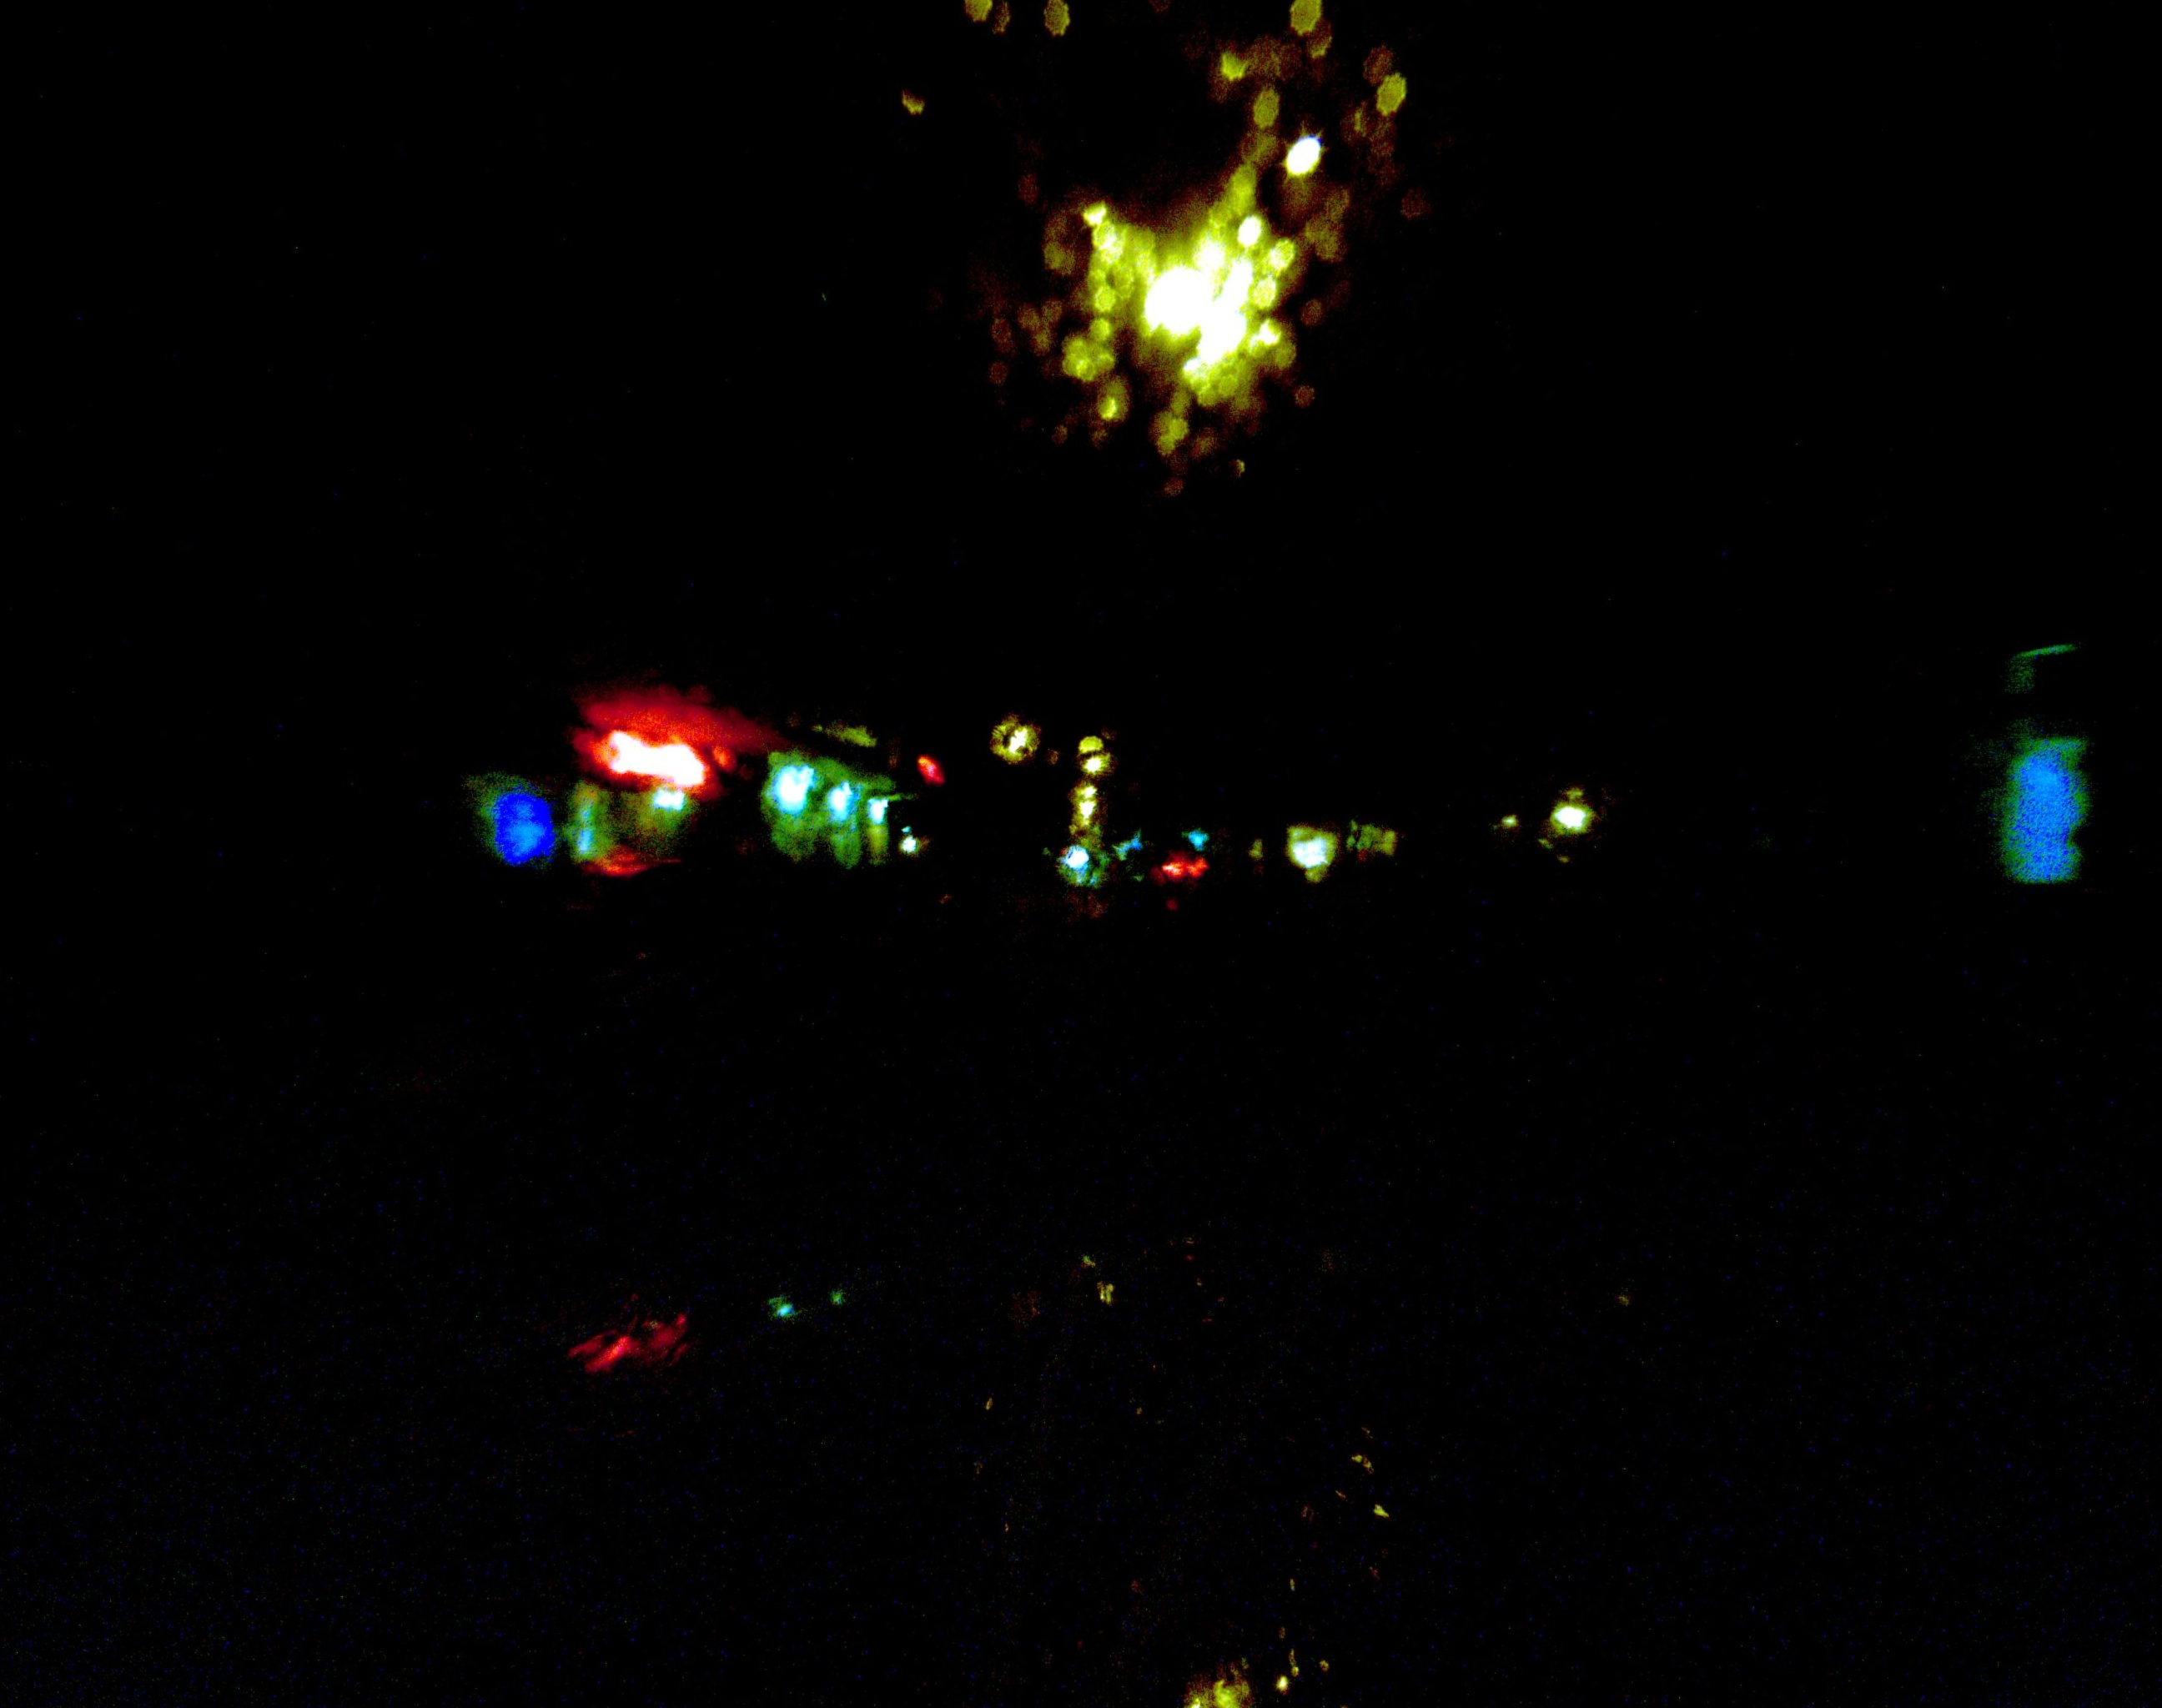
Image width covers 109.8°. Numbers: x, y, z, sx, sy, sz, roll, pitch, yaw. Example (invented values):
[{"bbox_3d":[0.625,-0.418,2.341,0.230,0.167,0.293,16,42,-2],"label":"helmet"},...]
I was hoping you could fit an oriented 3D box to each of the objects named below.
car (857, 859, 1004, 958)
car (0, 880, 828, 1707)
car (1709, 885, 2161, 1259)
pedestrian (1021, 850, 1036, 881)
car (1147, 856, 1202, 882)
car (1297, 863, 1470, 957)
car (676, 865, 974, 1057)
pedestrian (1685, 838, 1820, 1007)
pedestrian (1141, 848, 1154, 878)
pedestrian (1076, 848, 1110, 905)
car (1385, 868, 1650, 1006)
[{"bbox_3d":[-2.610,0.875,14.163,1.846,1.498,4.162,1,0,1],"label":"car"},{"bbox_3d":[-2.604,0.951,3.095,1.689,1.498,4.162,1,0,1],"label":"car"},{"bbox_3d":[5.224,0.942,3.718,1.531,1.445,3.384,0,0,1],"label":"car"},{"bbox_3d":[-3.207,0.703,46.454,0.776,1.890,0.777,-2,1,1],"label":"pedestrian"},{"bbox_3d":[5.247,0.837,43.136,1.879,1.386,4.069,0,-1,-12],"label":"car"},{"bbox_3d":[5.320,0.914,13.930,1.697,1.470,3.964,0,-1,2],"label":"car"},{"bbox_3d":[-2.444,0.929,8.452,1.846,1.498,4.162,1,0,1],"label":"car"},{"bbox_3d":[7.421,0.731,8.427,0.912,1.778,0.629,-2,1,1],"label":"pedestrian"},{"bbox_3d":[4.528,0.629,51.648,0.776,2.002,0.587,-2,1,1],"label":"pedestrian"},{"bbox_3d":[0.373,0.670,23.266,1.007,1.698,0.614,1,1,1],"label":"pedestrian"},{"bbox_3d":[5.379,0.924,9.900,1.696,1.470,3.385,0,-1,4],"label":"car"}]
